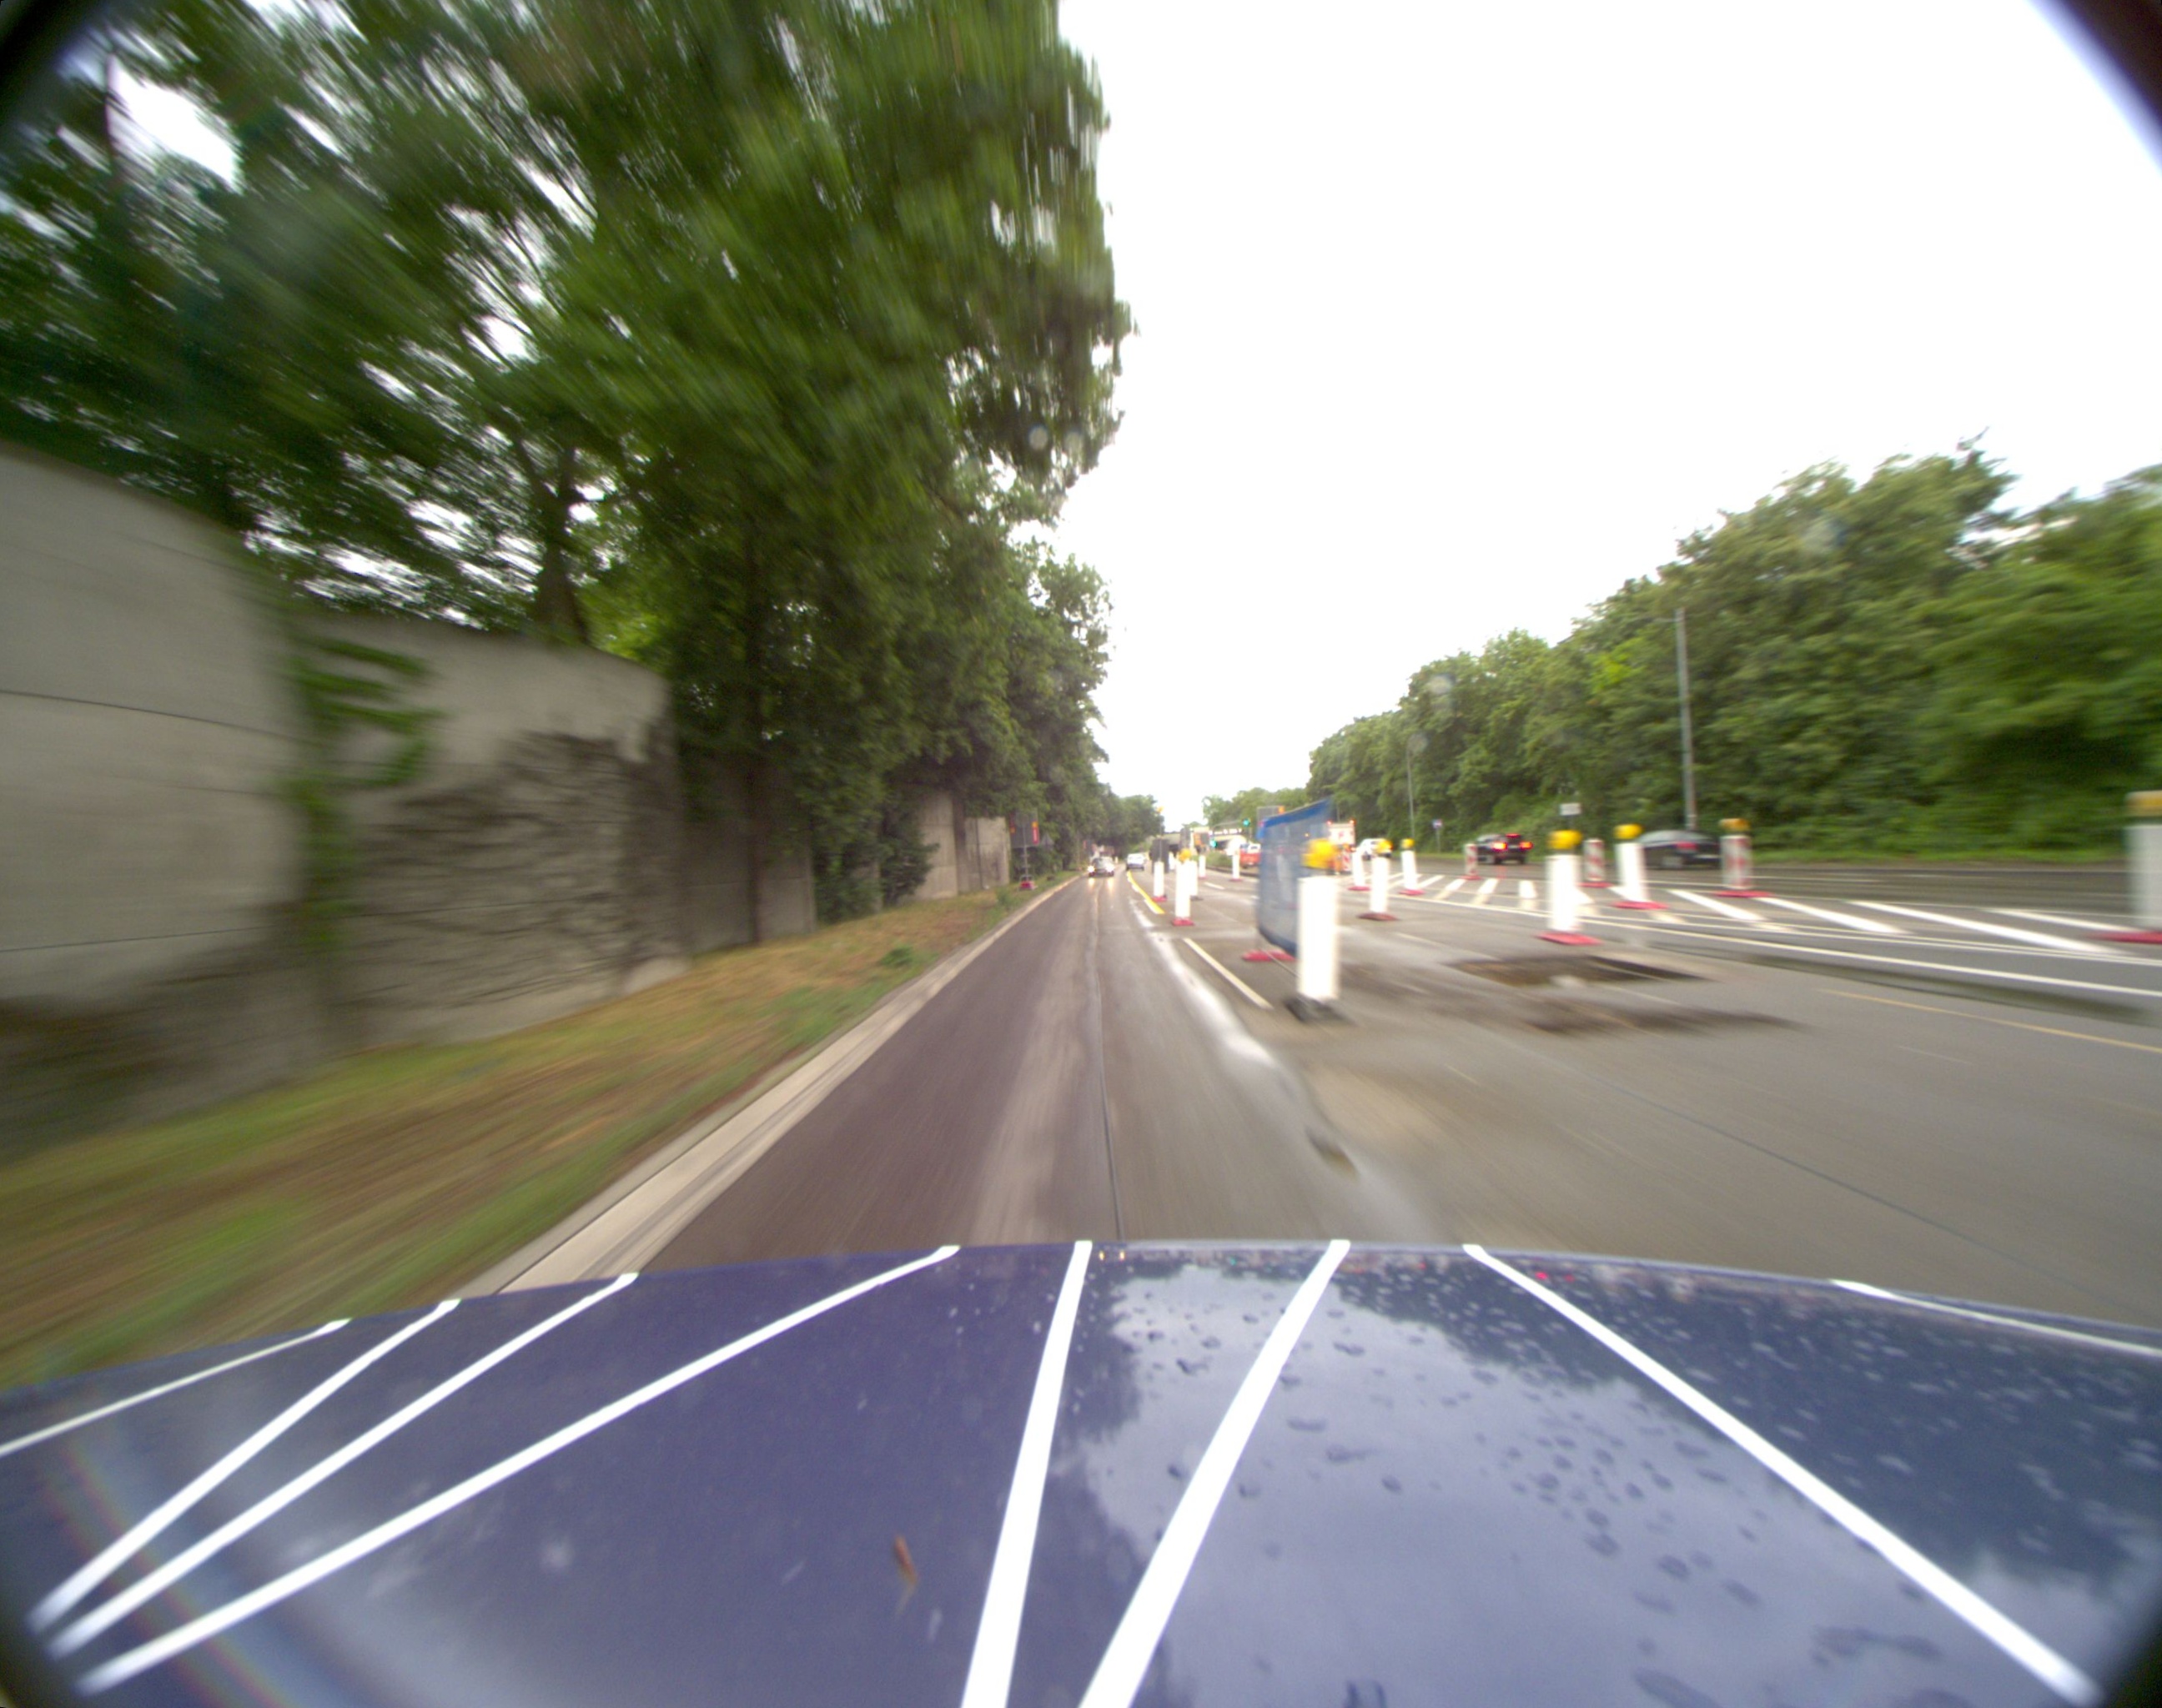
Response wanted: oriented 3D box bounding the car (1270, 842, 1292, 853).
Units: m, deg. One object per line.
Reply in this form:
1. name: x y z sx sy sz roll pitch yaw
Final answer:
1. car: 23.559 -0.793 89.623 1.609 1.145 4.284 -3 0 4

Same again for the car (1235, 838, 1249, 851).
1. car: 32.326 -1.876 152.802 2.199 2.376 6.248 -4 -1 8

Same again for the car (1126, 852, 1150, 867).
1. car: 5.583 0.523 73.770 1.696 1.300 3.828 -3 0 12

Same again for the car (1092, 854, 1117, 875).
1. car: 1.693 0.726 56.268 1.698 1.393 3.825 -3 0 1

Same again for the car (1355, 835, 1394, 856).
1. car: 25.039 -0.703 65.026 1.848 1.713 4.720 0 0 4

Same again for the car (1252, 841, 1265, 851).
1. car: 39.650 -1.846 169.858 2.038 1.962 4.993 -4 -1 8

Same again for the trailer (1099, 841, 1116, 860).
1. trailer: 5.259 -0.725 150.809 2.311 3.568 5.964 -2 1 12

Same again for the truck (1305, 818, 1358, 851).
1. truck: 26.001 -1.952 79.428 2.802 3.130 10.150 -3 0 4

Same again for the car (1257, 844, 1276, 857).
1. car: 25.486 -0.479 104.363 1.839 1.541 4.041 -3 0 4

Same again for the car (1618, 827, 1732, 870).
1. car: 22.021 -0.201 28.325 1.529 1.449 3.540 -1 0 2

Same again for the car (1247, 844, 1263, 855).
1. car: 29.533 -0.702 129.202 1.918 1.771 4.835 -4 0 4

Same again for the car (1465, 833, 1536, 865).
1. car: 22.856 -0.265 41.593 1.639 1.637 4.200 -2 0 2
